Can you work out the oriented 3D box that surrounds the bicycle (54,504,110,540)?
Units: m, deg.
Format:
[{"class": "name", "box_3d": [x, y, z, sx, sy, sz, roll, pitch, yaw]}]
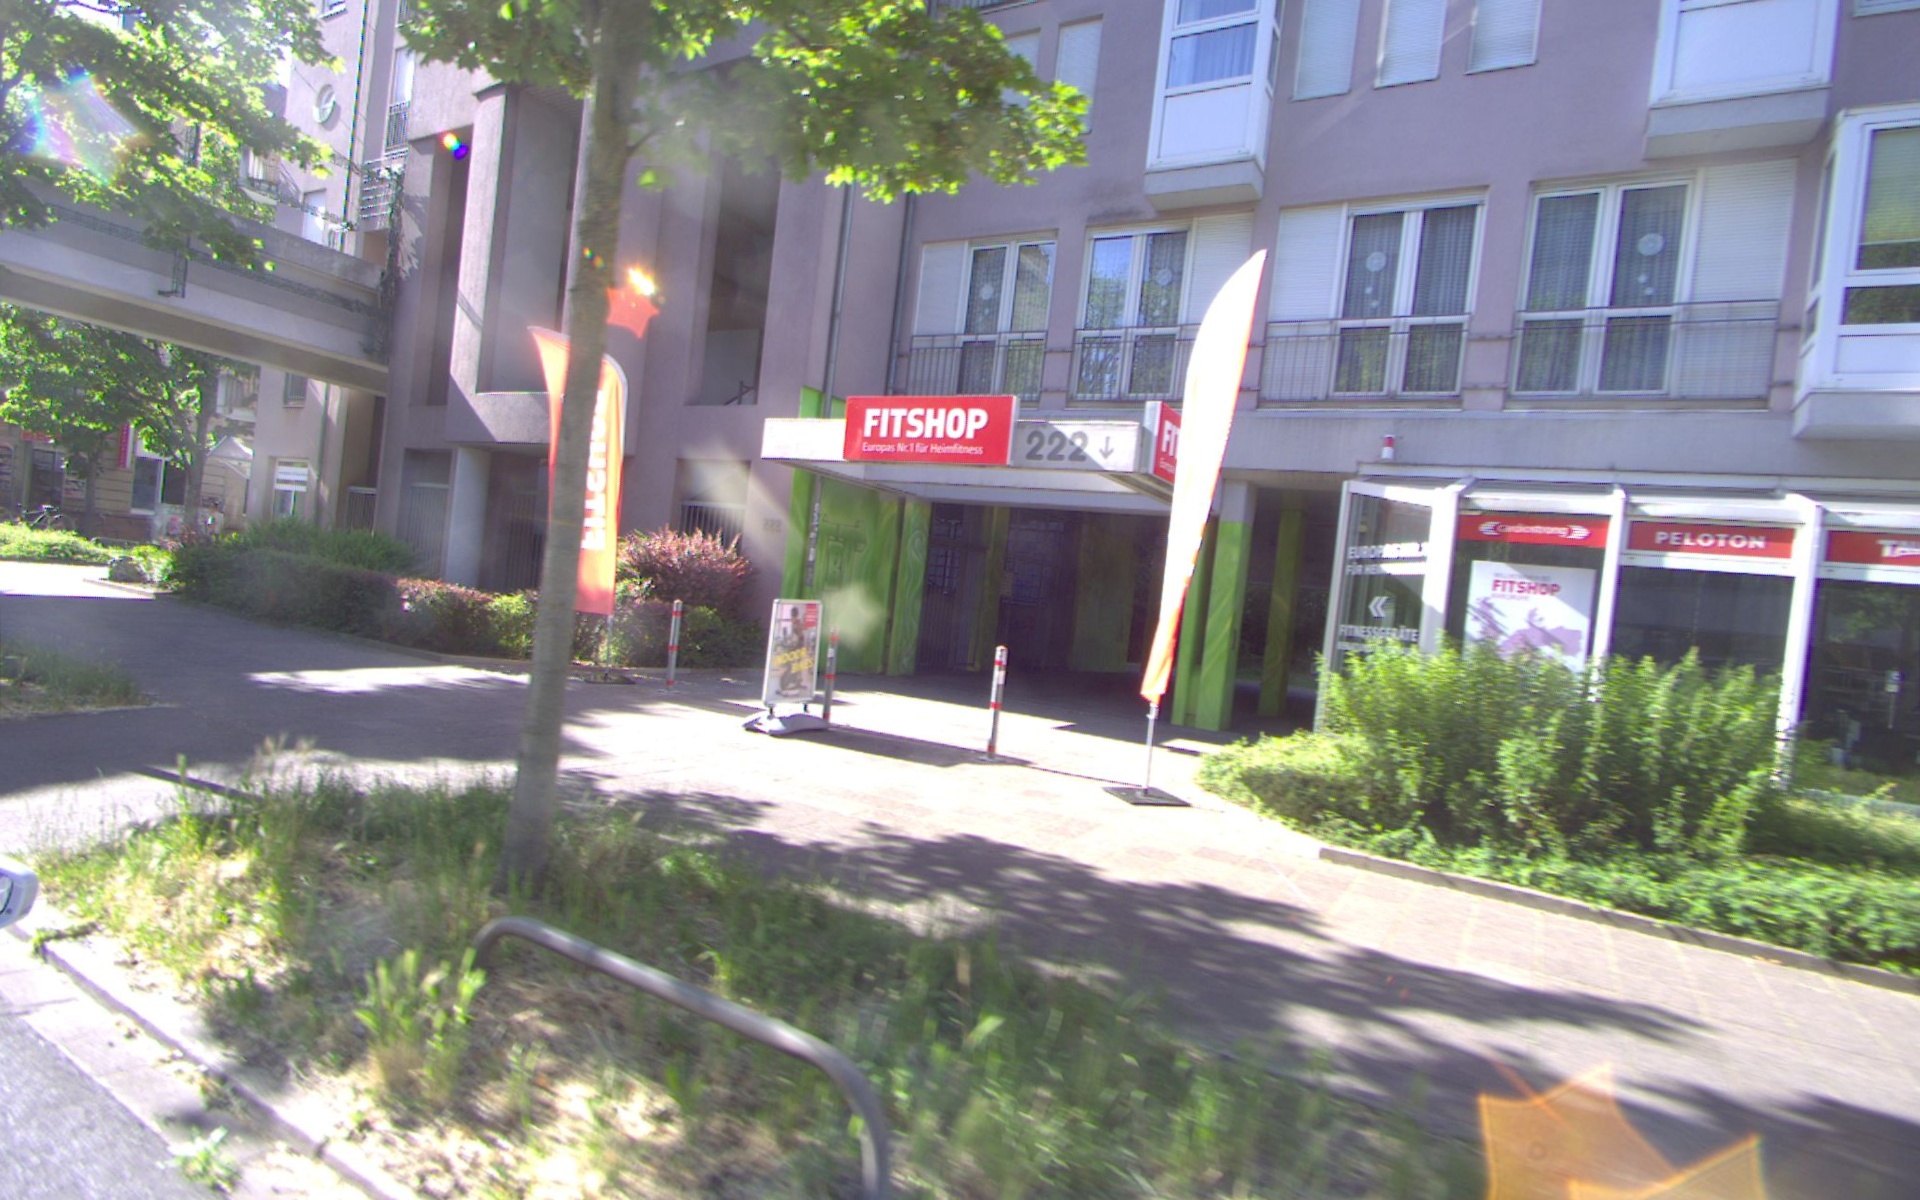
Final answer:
[{"class": "bicycle", "box_3d": [-28.557, -2.532, 32.741, 0.386, 0.986, 1.313, 7, 1, 20]}]

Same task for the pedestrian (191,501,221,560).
[{"class": "pedestrian", "box_3d": [-21.139, -1.949, 28.209, 0.526, 1.597, 0.628, 5, 2, -34]}]

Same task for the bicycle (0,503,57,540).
[{"class": "bicycle", "box_3d": [-28.677, -2.405, 30.920, 0.386, 0.986, 1.313, 7, 1, 20]}]
